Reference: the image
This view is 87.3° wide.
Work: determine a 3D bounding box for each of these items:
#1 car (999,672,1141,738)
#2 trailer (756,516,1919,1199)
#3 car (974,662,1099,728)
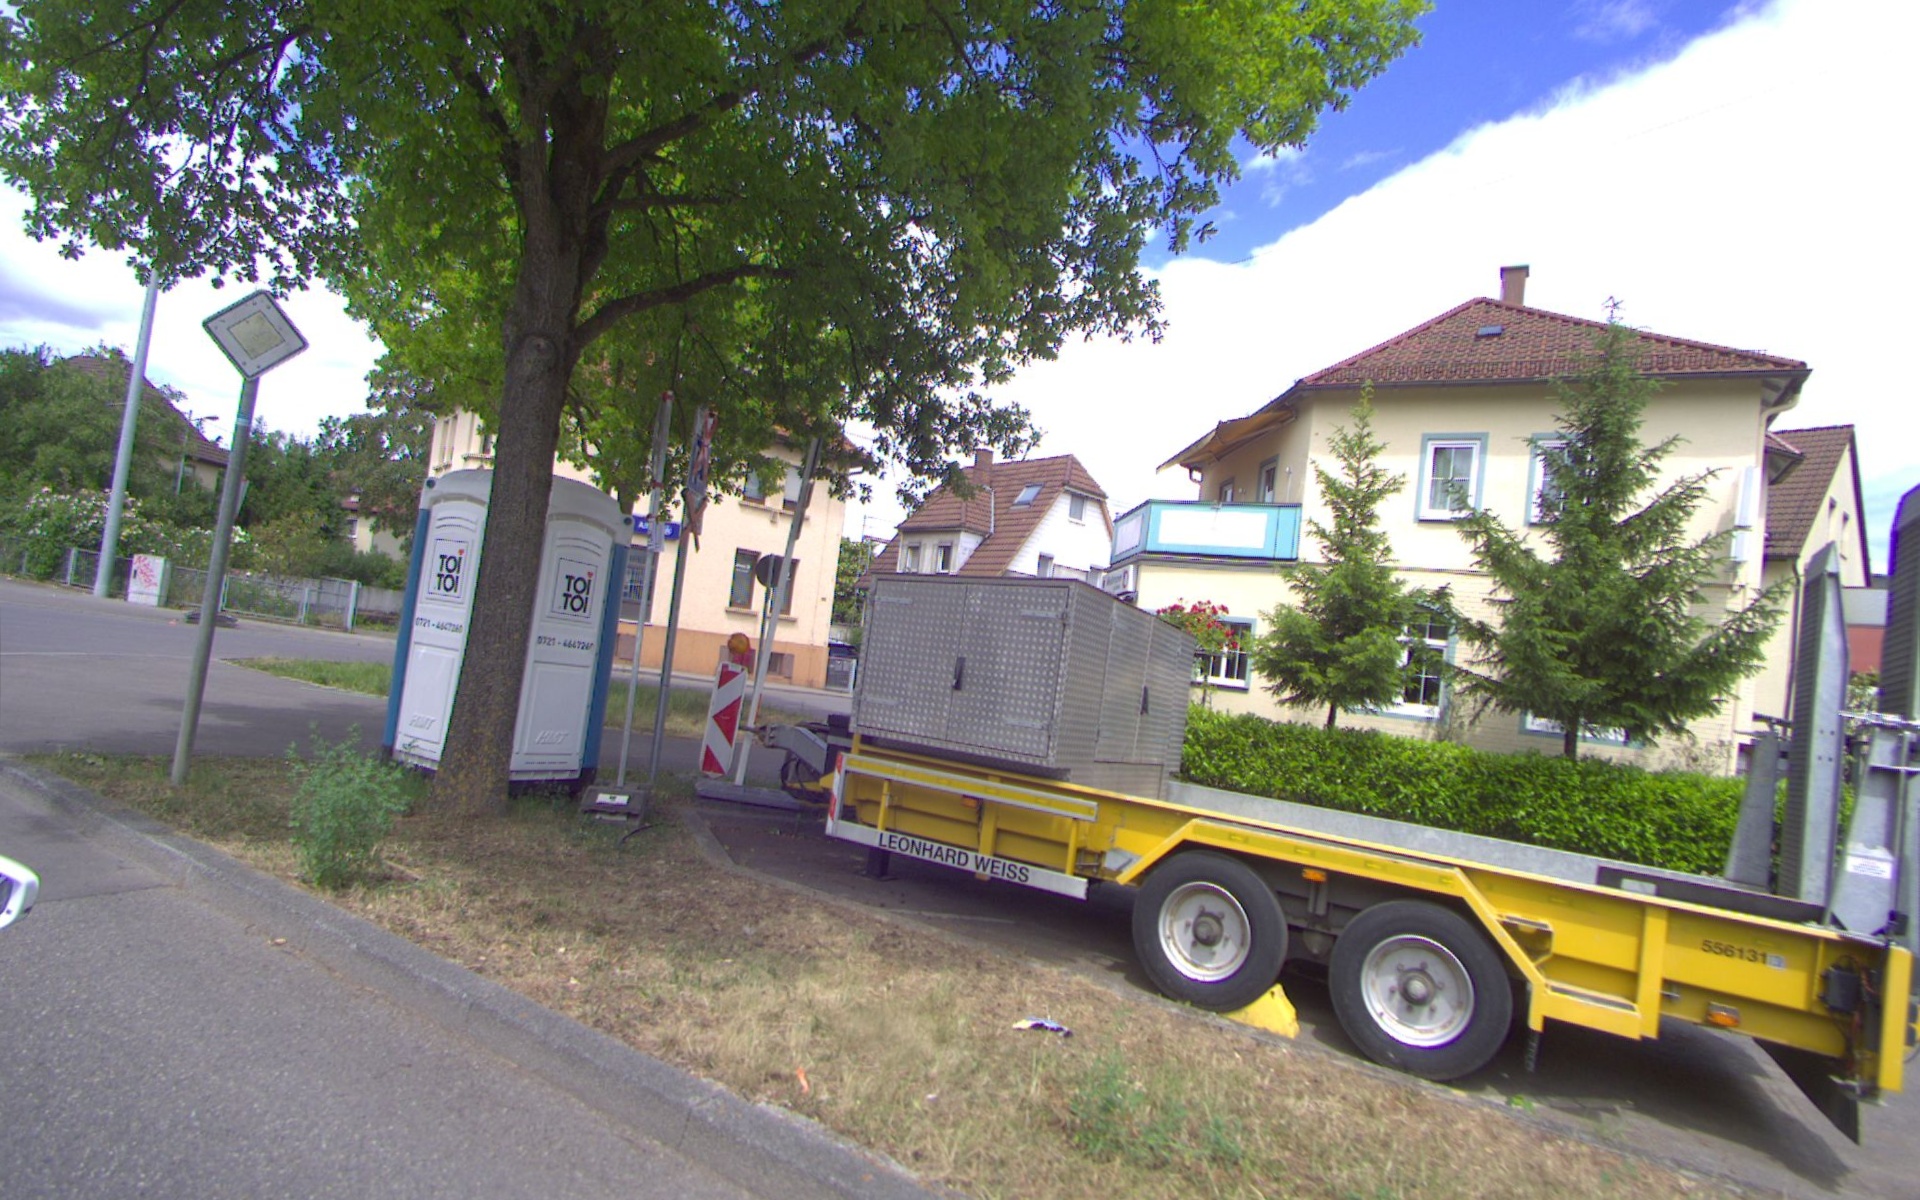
[{"bbox_3d":[3.279,3.108,29.621,3.969,1.392,1.697,10,-3,-36],"label":"car"},{"bbox_3d":[1.916,1.046,6.004,5.578,2.268,2.602,6,-5,30],"label":"trailer"},{"bbox_3d":[2.608,3.205,33.724,3.981,1.642,1.847,12,-5,-44],"label":"car"}]
